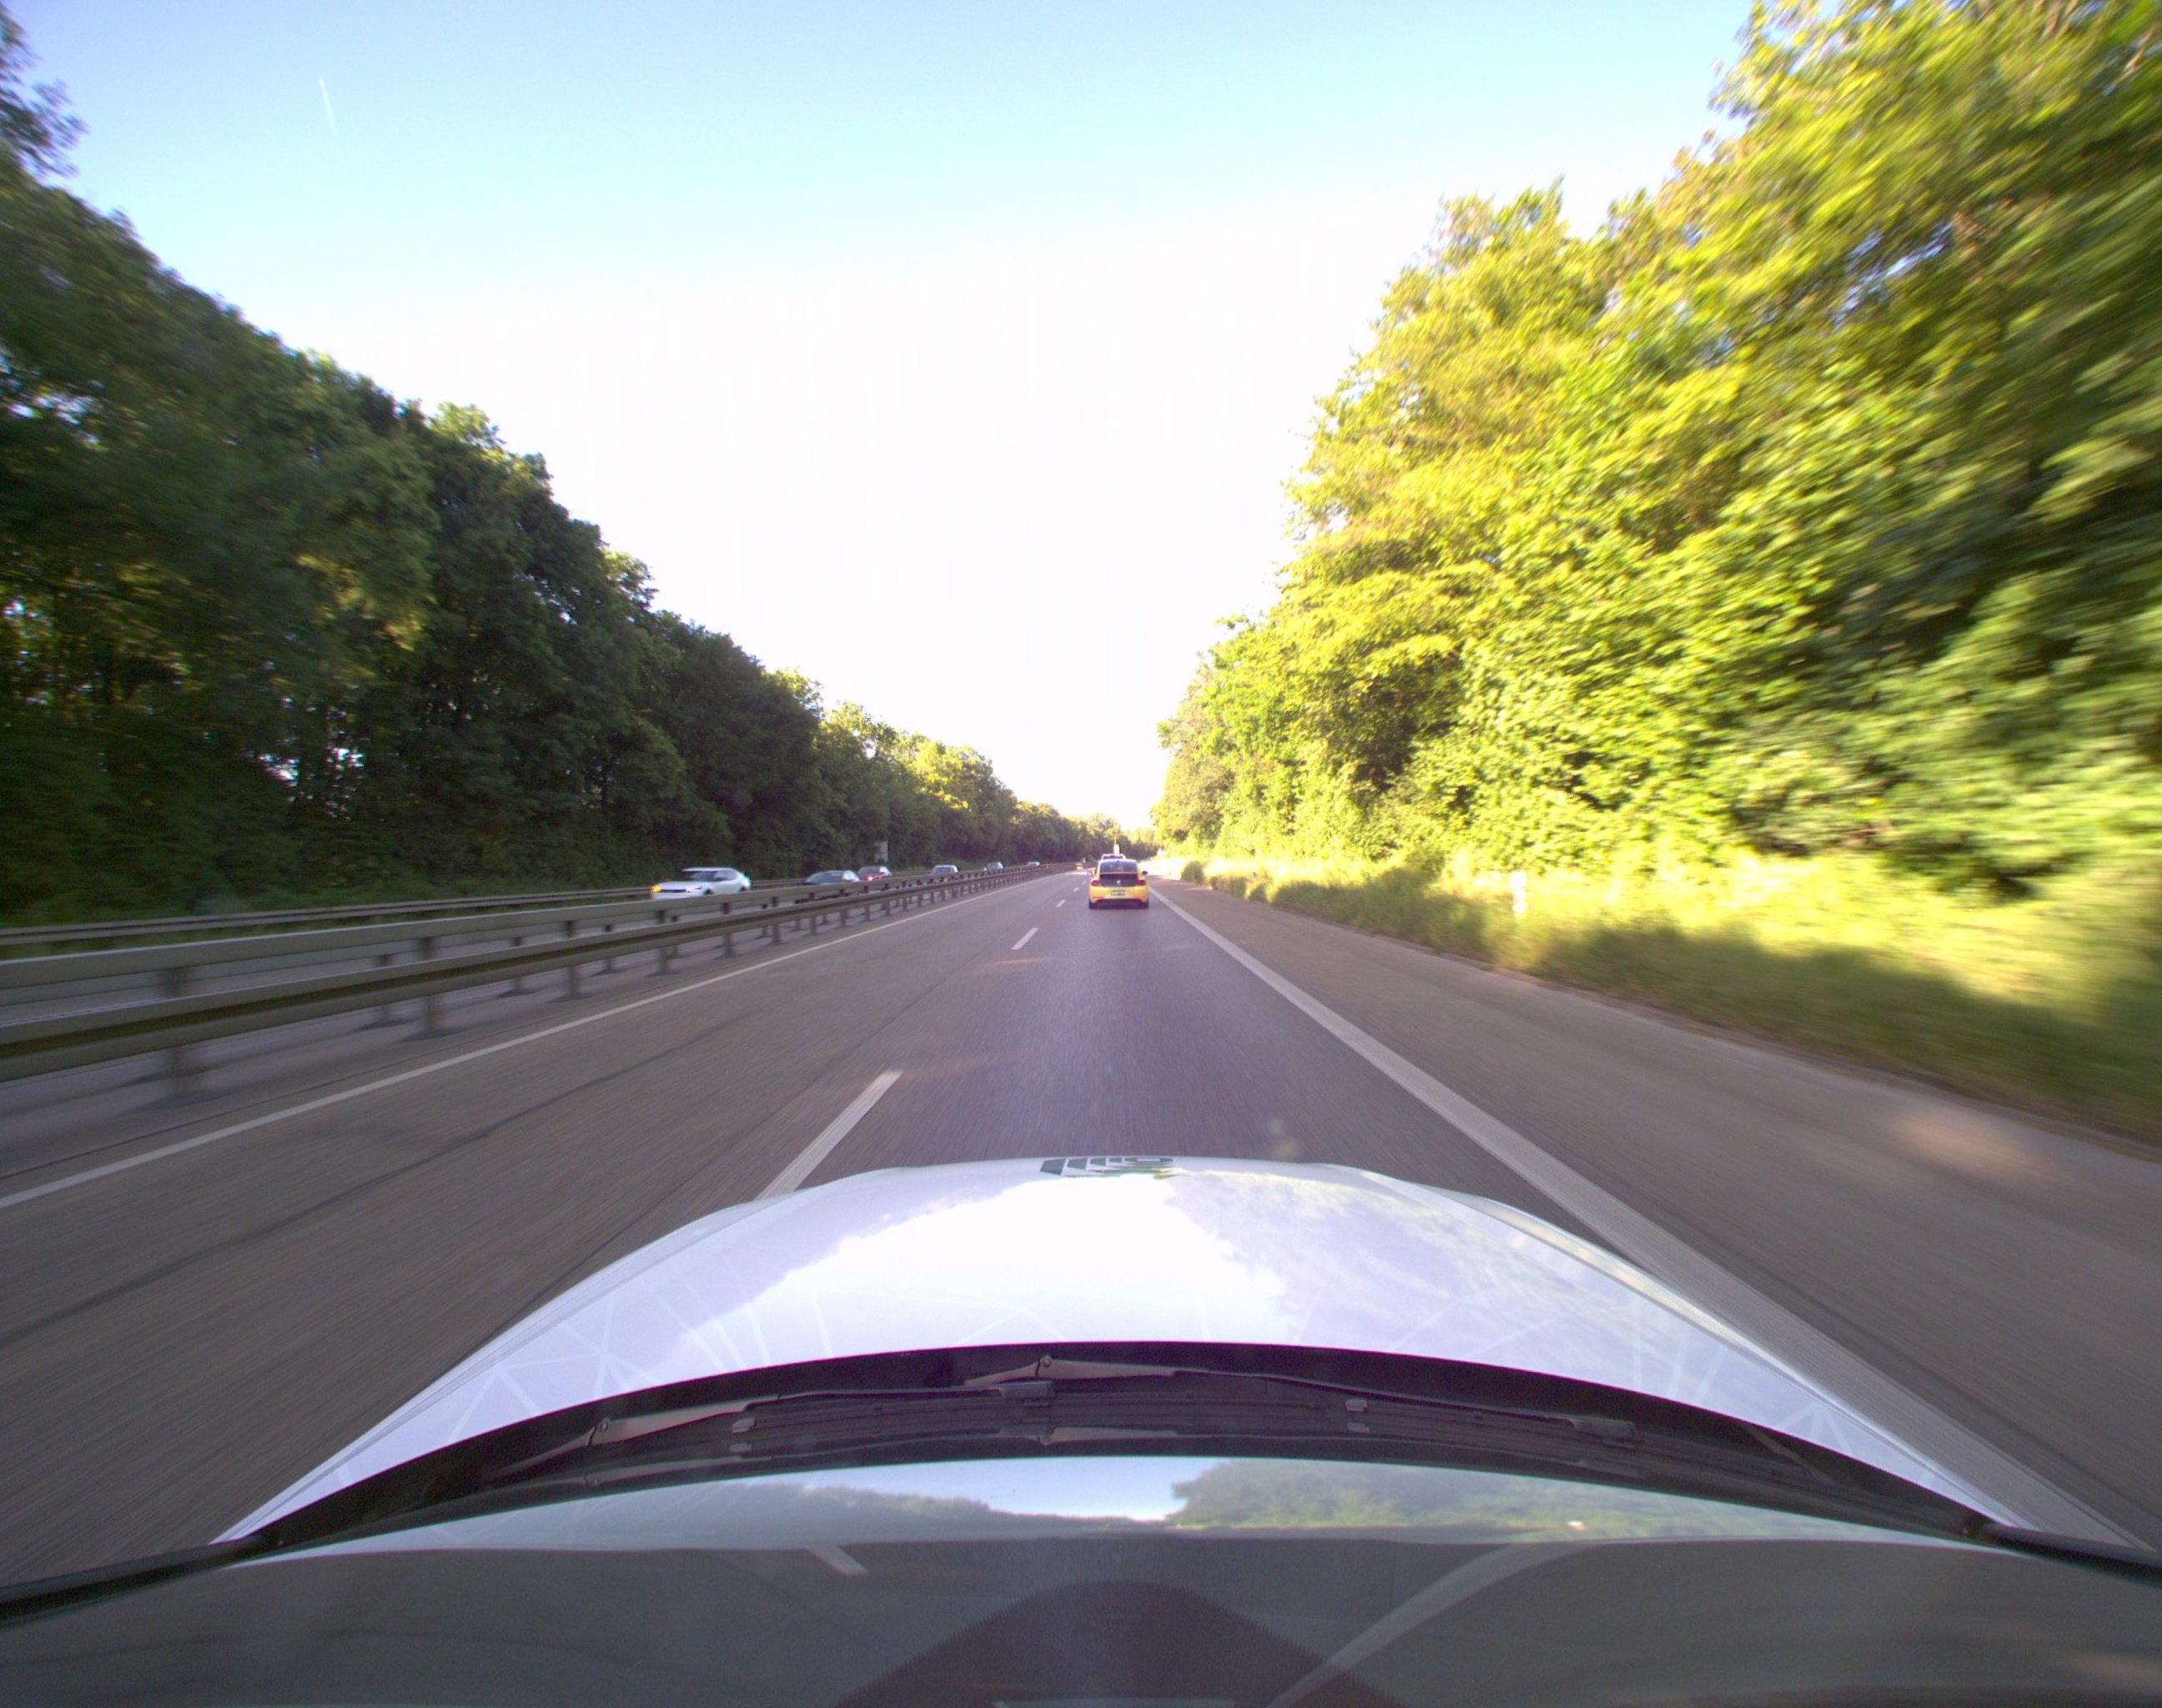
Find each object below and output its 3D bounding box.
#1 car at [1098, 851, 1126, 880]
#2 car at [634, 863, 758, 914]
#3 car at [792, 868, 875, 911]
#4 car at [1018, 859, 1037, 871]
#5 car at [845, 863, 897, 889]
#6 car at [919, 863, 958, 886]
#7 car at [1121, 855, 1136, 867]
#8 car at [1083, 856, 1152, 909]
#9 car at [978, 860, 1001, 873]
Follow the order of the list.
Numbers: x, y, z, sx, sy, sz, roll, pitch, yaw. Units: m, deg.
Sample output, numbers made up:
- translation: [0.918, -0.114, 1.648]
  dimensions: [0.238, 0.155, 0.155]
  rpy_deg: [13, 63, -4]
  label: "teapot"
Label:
- translation: [2.061, 0.746, 53.288]
  dimensions: [1.734, 1.830, 3.425]
  rpy_deg: [-1, 0, 3]
  label: "car"
- translation: [-14.226, 1.209, 30.437]
  dimensions: [1.984, 1.623, 4.795]
  rpy_deg: [-3, -1, 4]
  label: "car"
- translation: [-9.781, 1.367, 32.564]
  dimensions: [1.716, 1.468, 4.101]
  rpy_deg: [-3, -1, 4]
  label: "car"
- translation: [-7.303, 1.502, 111.465]
  dimensions: [1.985, 1.464, 4.744]
  rpy_deg: [-3, -1, 3]
  label: "car"
- translation: [-13.378, 1.397, 52.062]
  dimensions: [1.985, 1.464, 4.003]
  rpy_deg: [-3, -1, 3]
  label: "car"
- translation: [-9.558, 1.405, 54.965]
  dimensions: [1.718, 1.373, 4.097]
  rpy_deg: [-3, -2, 1]
  label: "car"
- translation: [7.485, 1.070, 127.408]
  dimensions: [2.253, 1.875, 5.081]
  rpy_deg: [0, 0, 4]
  label: "car"
- translation: [1.196, 0.830, 25.169]
  dimensions: [1.930, 1.508, 3.427]
  rpy_deg: [-1, 0, 5]
  label: "car"
- translation: [-11.386, 1.580, 102.141]
  dimensions: [1.985, 1.464, 4.906]
  rpy_deg: [-3, -1, 3]
  label: "car"
